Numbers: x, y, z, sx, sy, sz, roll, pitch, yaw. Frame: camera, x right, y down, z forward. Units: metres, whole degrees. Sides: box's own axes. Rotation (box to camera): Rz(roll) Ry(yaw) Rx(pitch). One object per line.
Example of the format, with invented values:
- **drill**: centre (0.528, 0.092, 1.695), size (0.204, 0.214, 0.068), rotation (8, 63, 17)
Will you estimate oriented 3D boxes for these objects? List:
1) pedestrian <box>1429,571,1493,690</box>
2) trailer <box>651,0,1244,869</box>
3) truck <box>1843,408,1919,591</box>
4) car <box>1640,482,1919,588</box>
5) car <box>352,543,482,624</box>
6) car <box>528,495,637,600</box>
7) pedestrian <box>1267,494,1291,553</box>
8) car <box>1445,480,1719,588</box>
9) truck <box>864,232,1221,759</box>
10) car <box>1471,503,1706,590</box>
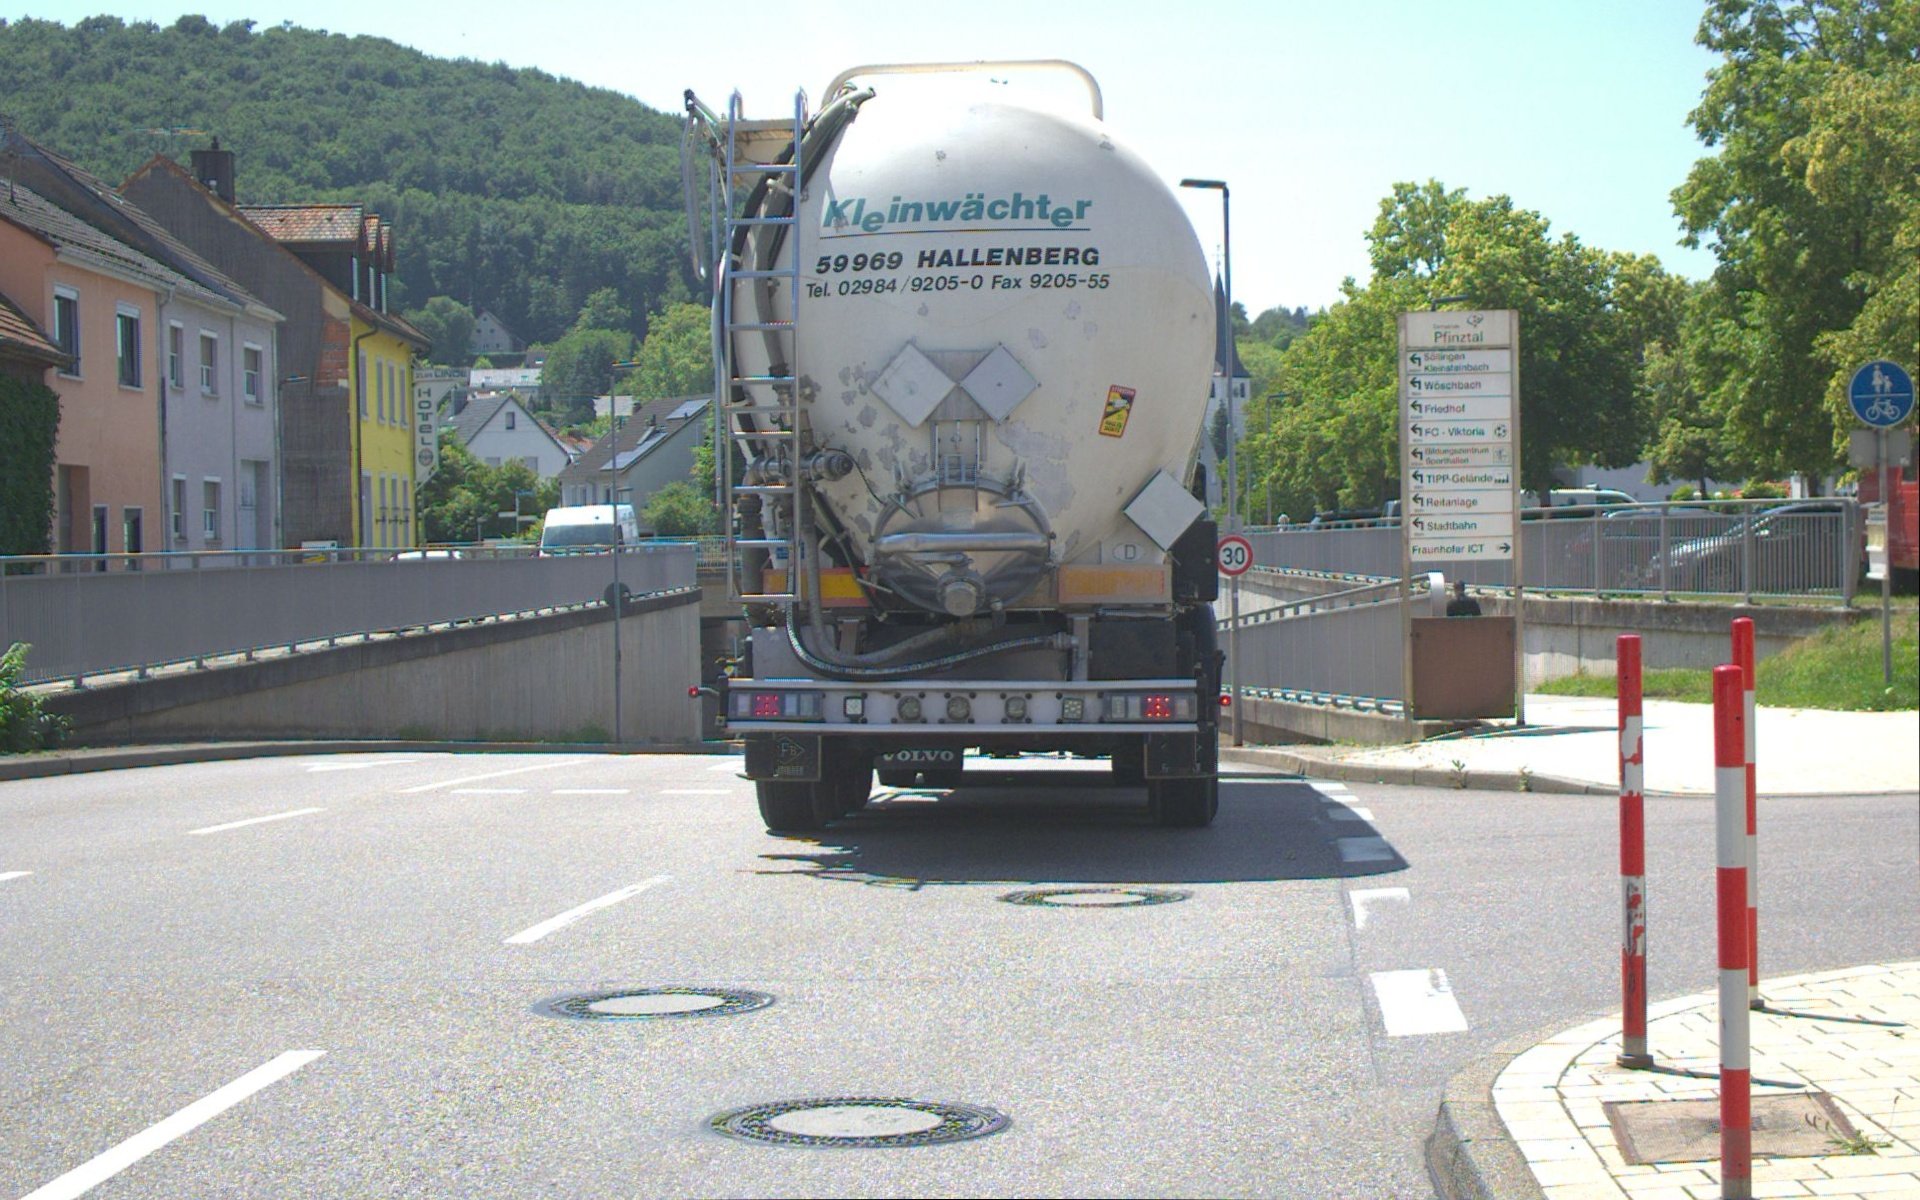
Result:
- **pedestrian**: centre (7.586, 0.467, 52.047), size (0.836, 1.776, 0.788), rotation (-1, -2, 1)
- **trailer**: centre (0.376, -0.792, 22.621), size (2.735, 4.050, 13.311), rotation (0, 0, 4)
- **truck**: centre (13.284, -1.301, 44.952), size (2.132, 2.326, 5.260), rotation (0, 1, 0)
- **car**: centre (12.282, -0.961, 51.176), size (3.987, 1.493, 1.748), rotation (-1, 1, 2)
- **car**: centre (-10.385, -0.340, 66.000), size (1.813, 1.457, 4.310), rotation (1, 1, 0)
- **car**: centre (-9.444, -1.312, 86.411), size (2.065, 2.528, 5.661), rotation (1, 1, 0)
- **pedestrian**: centre (9.697, -2.317, 104.564), size (0.673, 1.773, 0.594), rotation (-1, 0, 3)
- **car**: centre (12.371, -1.316, 68.612), size (5.112, 2.056, 1.988), rotation (-1, 1, 2)
- **truck**: centre (0.848, -0.811, 29.845), size (2.735, 4.050, 6.528), rotation (0, 0, 4)
- **car**: centre (12.010, -1.025, 65.827), size (4.205, 1.591, 1.686), rotation (-1, 1, 2)
